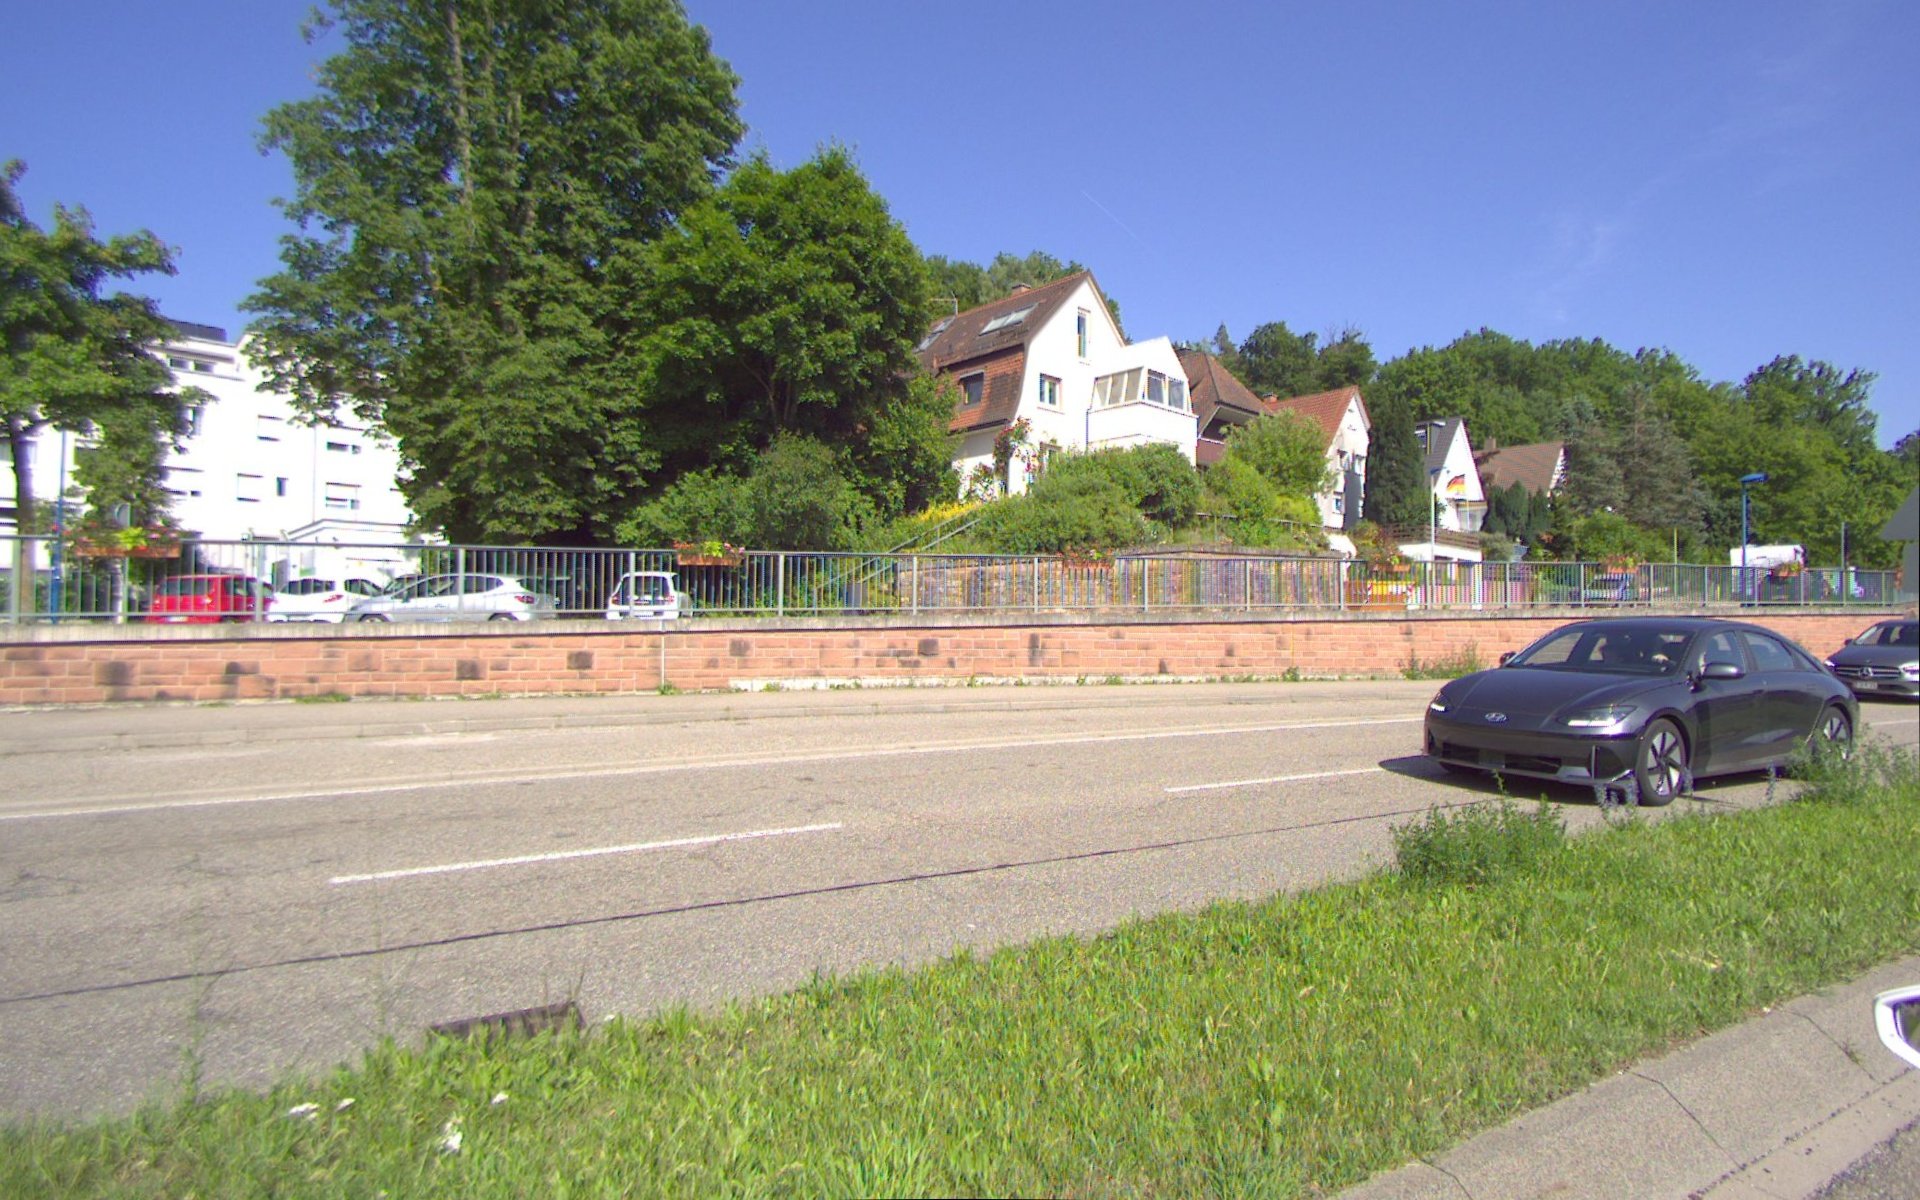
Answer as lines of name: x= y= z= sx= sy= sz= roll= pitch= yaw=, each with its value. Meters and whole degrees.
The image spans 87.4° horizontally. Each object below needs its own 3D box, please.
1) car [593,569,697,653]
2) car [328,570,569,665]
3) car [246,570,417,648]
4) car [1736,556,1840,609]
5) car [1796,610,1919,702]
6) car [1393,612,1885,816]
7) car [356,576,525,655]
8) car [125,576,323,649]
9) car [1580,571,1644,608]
car: x=-7.639 y=0.203 z=24.675 sx=1.879 sy=1.901 sz=3.993 roll=0 pitch=1 yaw=-9
car: x=-10.369 y=0.357 z=20.602 sx=3.922 sy=1.813 sz=1.921 roll=1 pitch=-1 yaw=-2
car: x=-15.056 y=0.151 z=24.344 sx=1.877 sy=1.724 sz=3.996 roll=0 pitch=2 yaw=-5
car: x=31.758 y=-0.667 z=38.506 sx=4.687 sy=1.946 sz=2.006 roll=0 pitch=2 yaw=-37
car: x=18.408 y=1.027 z=19.390 sx=4.453 sy=1.585 sz=1.985 roll=1 pitch=0 yaw=-28
car: x=6.359 y=0.885 z=9.301 sx=4.656 sy=1.490 sz=1.785 roll=1 pitch=0 yaw=-28
car: x=-12.199 y=0.292 z=23.921 sx=1.961 sy=1.694 sz=3.999 roll=1 pitch=1 yaw=0
car: x=-17.452 y=0.222 z=24.089 sx=1.877 sy=1.581 sz=3.998 roll=1 pitch=1 yaw=-2
car: x=31.204 y=-0.468 z=48.042 sx=1.875 sy=1.651 sz=3.976 roll=0 pitch=-1 yaw=44
